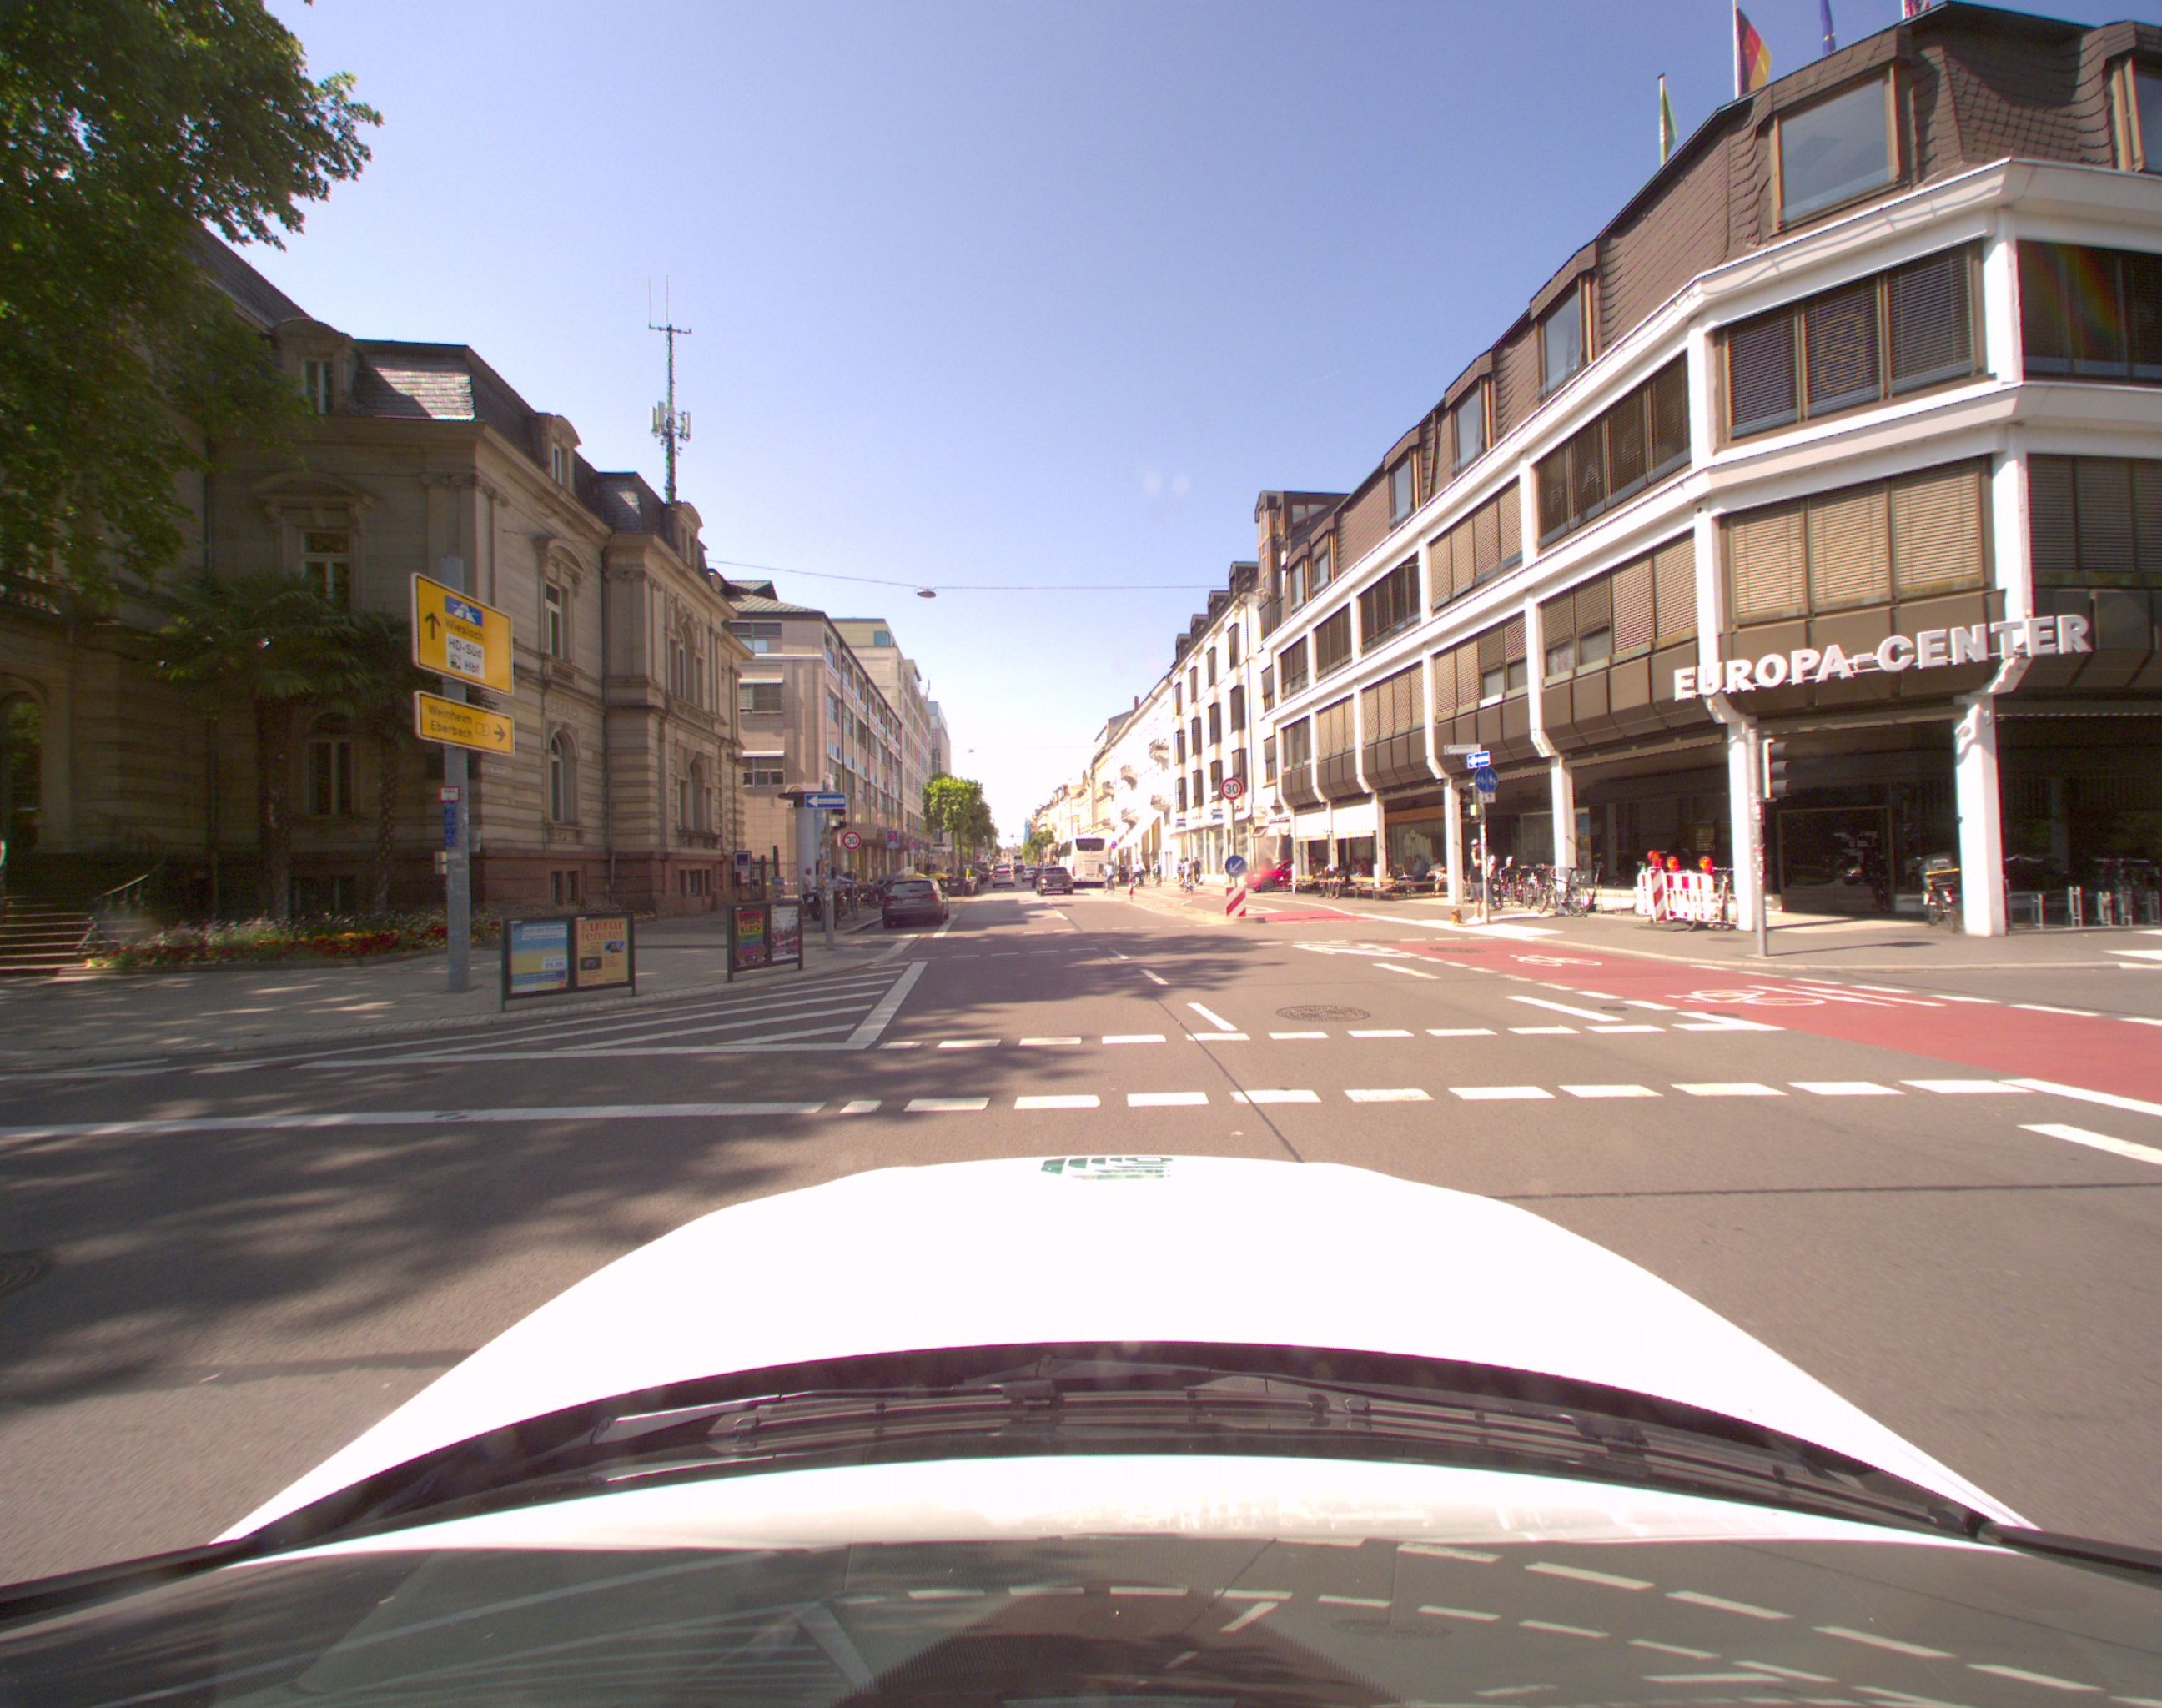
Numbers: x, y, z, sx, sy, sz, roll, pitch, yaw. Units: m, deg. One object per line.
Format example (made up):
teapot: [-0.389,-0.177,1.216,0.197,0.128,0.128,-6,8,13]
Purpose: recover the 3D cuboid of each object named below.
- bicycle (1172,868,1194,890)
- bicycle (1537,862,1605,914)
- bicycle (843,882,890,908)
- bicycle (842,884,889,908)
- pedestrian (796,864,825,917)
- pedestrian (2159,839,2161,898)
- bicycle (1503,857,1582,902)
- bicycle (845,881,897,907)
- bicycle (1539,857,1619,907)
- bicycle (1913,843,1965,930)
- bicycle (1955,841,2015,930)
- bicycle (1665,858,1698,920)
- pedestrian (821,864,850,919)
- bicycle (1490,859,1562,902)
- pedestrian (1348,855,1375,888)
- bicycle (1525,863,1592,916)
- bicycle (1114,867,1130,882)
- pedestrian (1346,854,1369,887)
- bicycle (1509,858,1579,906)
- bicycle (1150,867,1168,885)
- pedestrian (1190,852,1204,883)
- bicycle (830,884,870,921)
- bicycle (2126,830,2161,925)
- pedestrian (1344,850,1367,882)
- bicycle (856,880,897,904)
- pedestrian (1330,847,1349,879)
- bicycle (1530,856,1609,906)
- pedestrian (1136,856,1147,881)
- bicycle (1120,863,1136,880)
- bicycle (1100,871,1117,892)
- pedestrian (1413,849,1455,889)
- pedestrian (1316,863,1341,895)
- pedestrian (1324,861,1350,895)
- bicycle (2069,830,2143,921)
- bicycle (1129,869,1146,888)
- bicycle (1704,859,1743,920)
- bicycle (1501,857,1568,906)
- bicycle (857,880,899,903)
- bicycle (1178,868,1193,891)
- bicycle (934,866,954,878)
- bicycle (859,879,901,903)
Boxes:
bicycle: [5.488,1.333,43.858,0.620,1.099,2.346,-1,-1,-7]
bicycle: [11.362,0.751,18.969,0.275,1.120,2.244,-2,0,2]
bicycle: [-9.527,1.796,36.157,1.964,1.120,0.553,0,-2,-17]
bicycle: [-9.394,1.823,35.446,1.967,1.017,0.667,0,-2,-17]
pedestrian: [-8.684,1.174,26.189,0.547,1.665,0.937,-2,-2,3]
pedestrian: [21.152,0.378,15.385,0.977,1.334,0.819,-1,-1,-42]
bicycle: [12.330,0.680,21.752,2.238,1.120,0.276,-2,-1,-14]
bicycle: [-9.480,1.806,36.821,2.241,1.120,0.553,0,-2,-17]
bicycle: [12.081,0.676,19.759,1.711,1.120,0.277,-3,-1,0]
bicycle: [14.374,0.507,13.670,1.979,1.316,0.524,-3,0,-45]
bicycle: [14.779,0.478,13.341,1.870,1.316,0.524,-3,0,-45]
bicycle: [12.213,0.701,16.551,0.372,1.065,1.481,-4,3,40]
pedestrian: [-7.744,1.184,25.720,0.693,1.695,0.690,-2,-2,-3]
bicycle: [12.237,0.711,22.362,2.243,1.097,0.276,-2,-1,-20]
pedestrian: [11.955,0.727,34.694,0.876,1.368,0.536,-2,-1,-7]
bicycle: [11.021,0.780,18.866,0.275,1.120,2.244,-2,0,2]
bicycle: [3.143,1.581,62.686,0.837,1.099,2.346,-1,-1,-7]
pedestrian: [11.932,0.718,35.158,0.760,1.368,0.477,-2,-1,-7]
bicycle: [11.726,0.700,20.646,1.565,1.120,0.277,-3,-1,0]
bicycle: [4.887,1.398,51.376,0.620,1.099,2.346,-1,-1,-7]
pedestrian: [7.159,0.838,50.142,0.691,1.851,0.836,-2,-2,3]
bicycle: [-7.326,1.509,25.904,0.427,1.120,2.246,0,-2,5]
bicycle: [17.557,0.349,13.183,1.979,1.422,0.524,-3,0,-45]
pedestrian: [12.052,0.524,35.720,0.743,1.368,0.583,-2,-1,-7]
bicycle: [-9.790,1.823,39.091,1.843,1.073,0.555,-2,-3,-10]
pedestrian: [11.330,0.390,35.701,0.534,1.368,0.688,-2,-1,-5]
bicycle: [12.085,0.667,20.156,1.711,1.120,0.277,-3,-1,0]
pedestrian: [4.205,1.033,56.599,0.619,1.720,0.834,-1,-1,-6]
bicycle: [3.199,1.210,55.396,0.620,1.099,2.346,-1,-1,-7]
bicycle: [1.525,1.524,45.629,0.663,1.120,2.239,0,0,-5]
pedestrian: [12.501,0.528,28.871,0.895,1.351,1.102,-2,-2,-7]
pedestrian: [9.421,0.954,31.017,0.708,1.173,0.697,-2,-2,3]
pedestrian: [9.471,0.893,30.164,0.708,1.217,0.697,-2,-2,3]
bicycle: [17.393,0.324,13.849,1.979,1.422,0.524,-3,0,-45]
bicycle: [3.492,1.495,50.436,0.620,1.099,2.346,-1,-1,-7]
bicycle: [12.336,0.656,15.656,0.305,1.065,1.480,-4,-1,29]
bicycle: [11.697,0.708,21.012,1.540,1.207,0.277,-2,-1,0]
bicycle: [-9.894,1.839,39.763,1.974,1.120,0.507,0,-2,-10]
bicycle: [5.305,1.291,41.365,0.592,1.120,1.802,-2,0,2]
bicycle: [-14.345,1.899,85.083,2.067,1.288,0.366,1,-2,-13]
bicycle: [-9.973,1.821,40.358,1.967,1.120,0.507,-1,-2,-10]
